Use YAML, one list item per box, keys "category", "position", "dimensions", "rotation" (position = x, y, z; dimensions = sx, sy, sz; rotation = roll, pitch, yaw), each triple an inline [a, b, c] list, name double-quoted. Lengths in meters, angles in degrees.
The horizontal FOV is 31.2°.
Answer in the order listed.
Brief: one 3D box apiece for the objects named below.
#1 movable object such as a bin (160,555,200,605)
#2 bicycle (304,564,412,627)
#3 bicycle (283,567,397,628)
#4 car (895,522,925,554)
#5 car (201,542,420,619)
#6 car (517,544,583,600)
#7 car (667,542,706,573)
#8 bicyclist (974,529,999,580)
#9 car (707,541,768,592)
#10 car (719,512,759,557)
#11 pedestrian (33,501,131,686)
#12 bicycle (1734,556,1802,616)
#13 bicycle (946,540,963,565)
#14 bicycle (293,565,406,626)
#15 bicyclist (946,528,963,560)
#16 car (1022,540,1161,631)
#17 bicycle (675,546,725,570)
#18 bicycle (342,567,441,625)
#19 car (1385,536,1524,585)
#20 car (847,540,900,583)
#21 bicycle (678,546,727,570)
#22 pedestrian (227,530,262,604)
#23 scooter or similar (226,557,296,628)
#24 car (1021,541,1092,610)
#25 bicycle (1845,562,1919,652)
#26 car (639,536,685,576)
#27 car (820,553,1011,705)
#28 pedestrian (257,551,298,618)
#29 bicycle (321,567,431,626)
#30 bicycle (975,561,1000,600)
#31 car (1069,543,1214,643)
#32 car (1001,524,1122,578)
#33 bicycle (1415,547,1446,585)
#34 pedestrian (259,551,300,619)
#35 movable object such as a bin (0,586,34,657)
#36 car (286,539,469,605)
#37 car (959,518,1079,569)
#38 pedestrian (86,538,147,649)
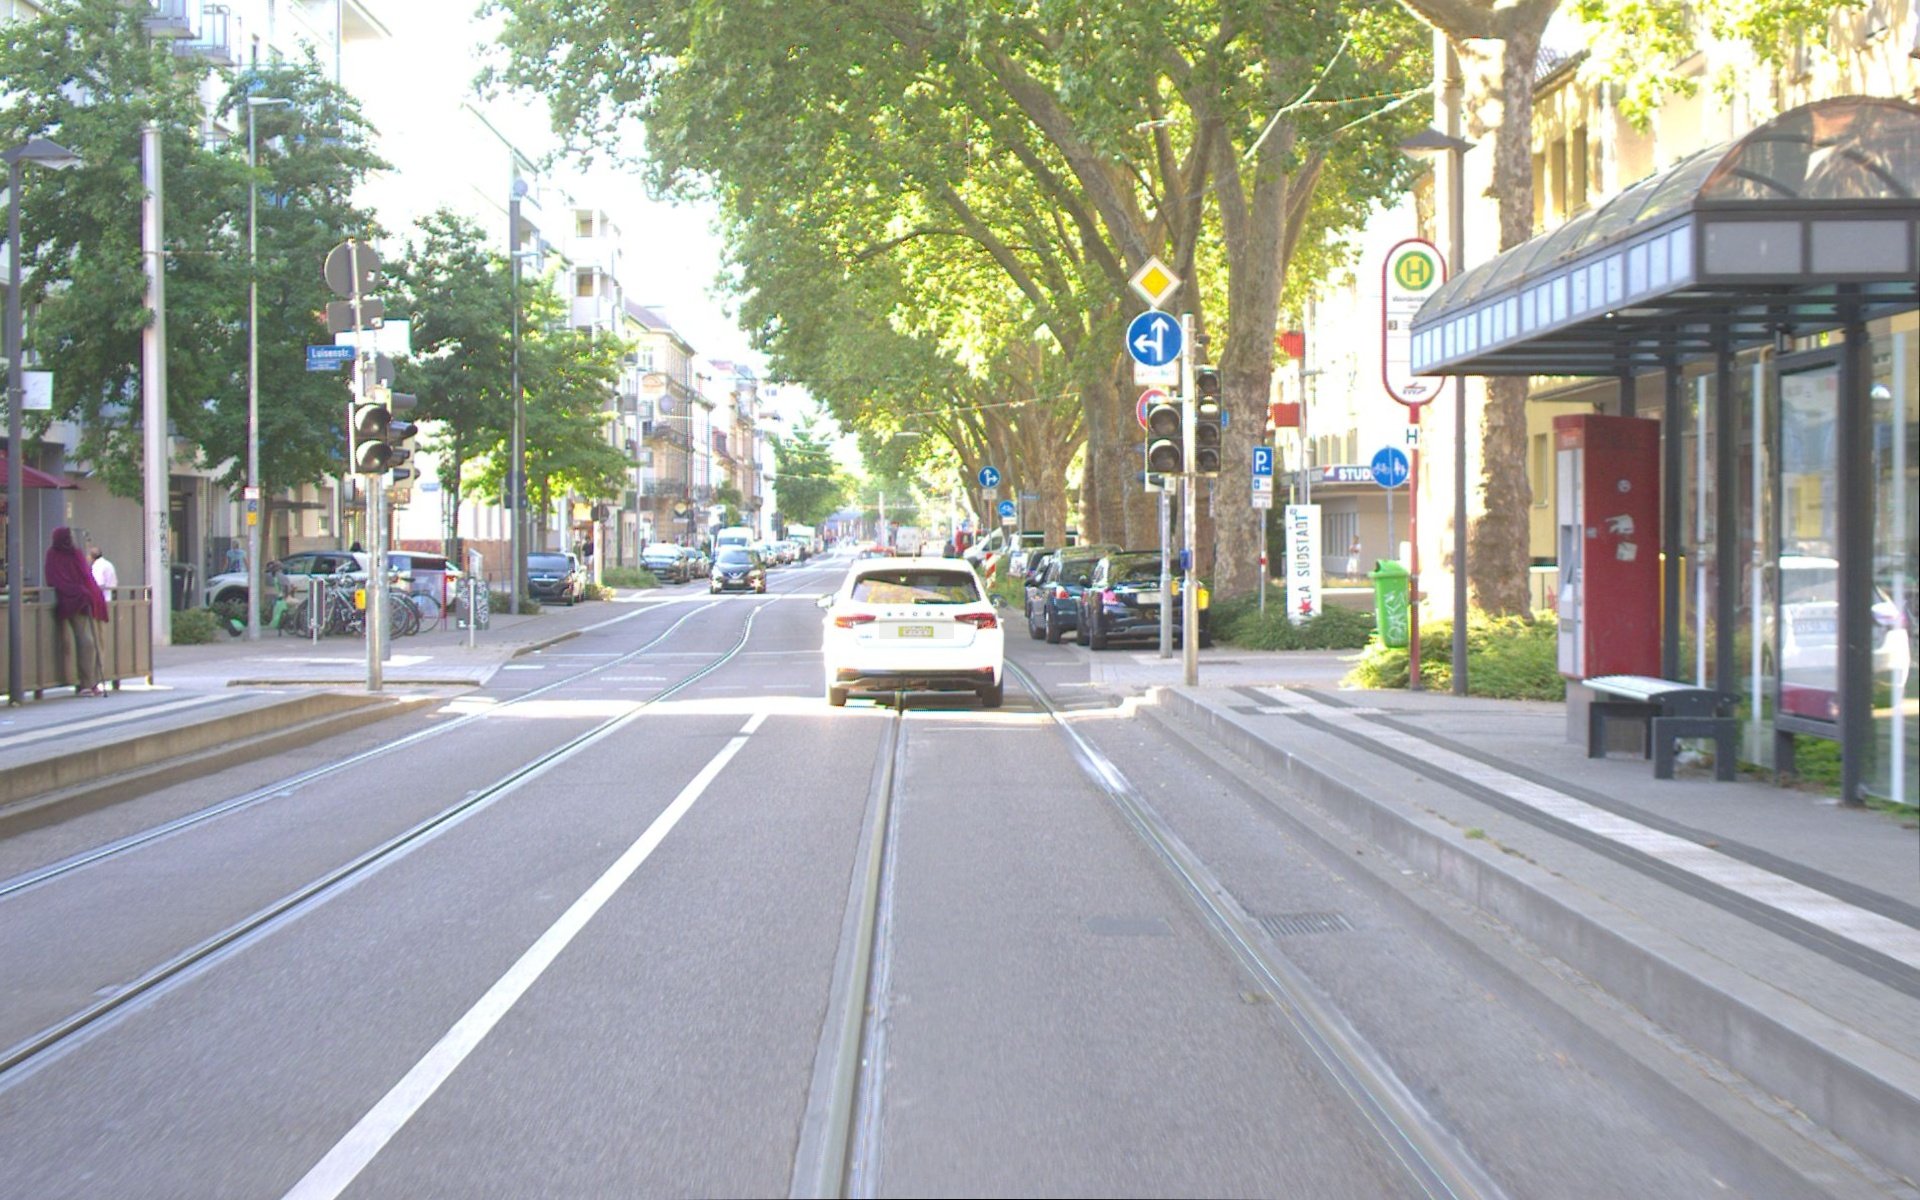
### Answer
- category: "movable object such as a bin"
  position: [-16.602, -0.421, 73.198]
  dimensions: [0.678, 1.052, 0.622]
  rotation: [-1, 1, 1]
- category: "bicycle"
  position: [-9.865, -0.077, 56.401]
  dimensions: [1.690, 1.003, 0.658]
  rotation: [1, 0, -5]
- category: "bicycle"
  position: [-10.438, -0.045, 57.881]
  dimensions: [1.829, 1.003, 0.658]
  rotation: [1, 0, -5]
- category: "car"
  position: [-3.682, -4.623, 255.844]
  dimensions: [2.202, 2.379, 4.000]
  rotation: [0, 1, -1]
- category: "car"
  position: [-12.966, -0.392, 68.778]
  dimensions: [4.012, 1.470, 1.852]
  rotation: [1, 0, 0]
- category: "car"
  position: [-11.576, -0.812, 96.884]
  dimensions: [1.713, 1.459, 4.001]
  rotation: [3, 0, -8]
- category: "car"
  position: [-12.856, -1.989, 161.801]
  dimensions: [1.653, 1.432, 3.837]
  rotation: [0, 1, -2]
- category: "bicyclist"
  position: [0.753, -1.278, 96.585]
  dimensions: [0.678, 1.438, 1.047]
  rotation: [-1, 1, 0]
- category: "car"
  position: [-7.422, -1.140, 114.782]
  dimensions: [1.871, 1.584, 4.147]
  rotation: [2, 1, -2]
- category: "car"
  position: [-14.202, -4.207, 221.387]
  dimensions: [2.342, 2.851, 4.000]
  rotation: [0, 1, -1]
- category: "pedestrian"
  position: [-7.612, -0.059, 29.828]
  dimensions: [0.654, 1.579, 0.772]
  rotation: [0, 1, 0]
- category: "bicycle"
  position: [13.829, -0.253, 58.886]
  dimensions: [0.570, 0.993, 1.781]
  rotation: [-2, 1, -5]
- category: "bicycle"
  position: [-0.219, -2.026, 146.598]
  dimensions: [0.649, 1.067, 1.583]
  rotation: [-1, 1, -3]
- category: "bicycle"
  position: [-10.352, -0.084, 58.322]
  dimensions: [1.829, 1.003, 0.658]
  rotation: [1, 0, -5]
- category: "bicyclist"
  position: [-0.228, -2.383, 146.605]
  dimensions: [0.649, 1.339, 0.934]
  rotation: [-1, 1, -3]
- category: "car"
  position: [2.168, -0.266, 57.763]
  dimensions: [1.864, 1.432, 4.227]
  rotation: [-1, 1, -4]
- category: "bicycle"
  position: [-13.534, -2.195, 178.985]
  dimensions: [2.525, 1.168, 0.883]
  rotation: [2, -1, -40]
- category: "bicycle"
  position: [-10.151, -0.074, 61.456]
  dimensions: [1.690, 1.003, 0.658]
  rotation: [1, 0, -5]
- category: "car"
  position: [16.179, -1.294, 112.529]
  dimensions: [4.130, 1.588, 2.000]
  rotation: [0, 1, -6]
- category: "car"
  position: [-3.008, -1.348, 119.825]
  dimensions: [1.761, 1.470, 4.000]
  rotation: [-1, 1, 0]
- category: "bicycle"
  position: [-13.484, -2.206, 179.868]
  dimensions: [2.524, 1.168, 0.719]
  rotation: [2, -1, -7]
- category: "pedestrian"
  position: [-16.375, -0.760, 78.642]
  dimensions: [0.663, 1.685, 0.749]
  rotation: [0, 1, -2]
- category: "scooter or similar"
  position: [-11.848, -0.131, 58.296]
  dimensions: [1.079, 1.172, 0.498]
  rotation: [1, 0, -2]
- category: "car"
  position: [2.225, -0.561, 79.624]
  dimensions: [1.564, 1.514, 2.910]
  rotation: [-2, 0, 1]
- category: "bicycle"
  position: [12.900, 0.079, 46.298]
  dimensions: [1.791, 1.153, 0.746]
  rotation: [-2, 1, -22]
- category: "car"
  position: [-12.642, -1.883, 146.233]
  dimensions: [1.702, 1.645, 4.242]
  rotation: [2, 1, -2]
- category: "car"
  position: [-0.486, 0.238, 34.015]
  dimensions: [1.761, 1.379, 4.001]
  rotation: [-1, 1, -2]
- category: "pedestrian"
  position: [-13.247, -0.305, 66.693]
  dimensions: [0.712, 1.293, 0.912]
  rotation: [-1, 1, -15]
- category: "bicycle"
  position: [-10.207, -0.062, 60.114]
  dimensions: [1.829, 1.003, 0.658]
  rotation: [1, 0, -5]
- category: "bicycle"
  position: [0.761, -0.559, 96.563]
  dimensions: [0.681, 1.067, 1.781]
  rotation: [-1, 1, 0]
- category: "car"
  position: [2.732, -0.141, 52.751]
  dimensions: [1.764, 1.457, 5.013]
  rotation: [0, 1, -2]
- category: "car"
  position: [3.946, -1.929, 134.252]
  dimensions: [4.543, 2.069, 2.001]
  rotation: [0, 1, -3]
- category: "bicycle"
  position: [14.096, -1.025, 103.028]
  dimensions: [0.582, 1.100, 1.923]
  rotation: [-2, 1, -1]
- category: "pedestrian"
  position: [-12.958, -0.289, 65.455]
  dimensions: [0.712, 1.293, 0.748]
  rotation: [-1, 1, -15]
- category: "movable object such as a bin"
  position: [-12.542, 0.283, 45.473]
  dimensions: [0.538, 0.929, 0.650]
  rotation: [-1, 1, -17]
- category: "car"
  position: [-13.602, -0.646, 80.405]
  dimensions: [4.012, 1.470, 1.852]
  rotation: [1, 0, -3]
- category: "car"
  position: [3.092, -2.981, 181.234]
  dimensions: [6.129, 2.626, 2.529]
  rotation: [0, 1, -2]
- category: "pedestrian"
  position: [-11.964, -0.095, 48.775]
  dimensions: [0.725, 1.551, 0.769]
  rotation: [-1, 1, -6]
